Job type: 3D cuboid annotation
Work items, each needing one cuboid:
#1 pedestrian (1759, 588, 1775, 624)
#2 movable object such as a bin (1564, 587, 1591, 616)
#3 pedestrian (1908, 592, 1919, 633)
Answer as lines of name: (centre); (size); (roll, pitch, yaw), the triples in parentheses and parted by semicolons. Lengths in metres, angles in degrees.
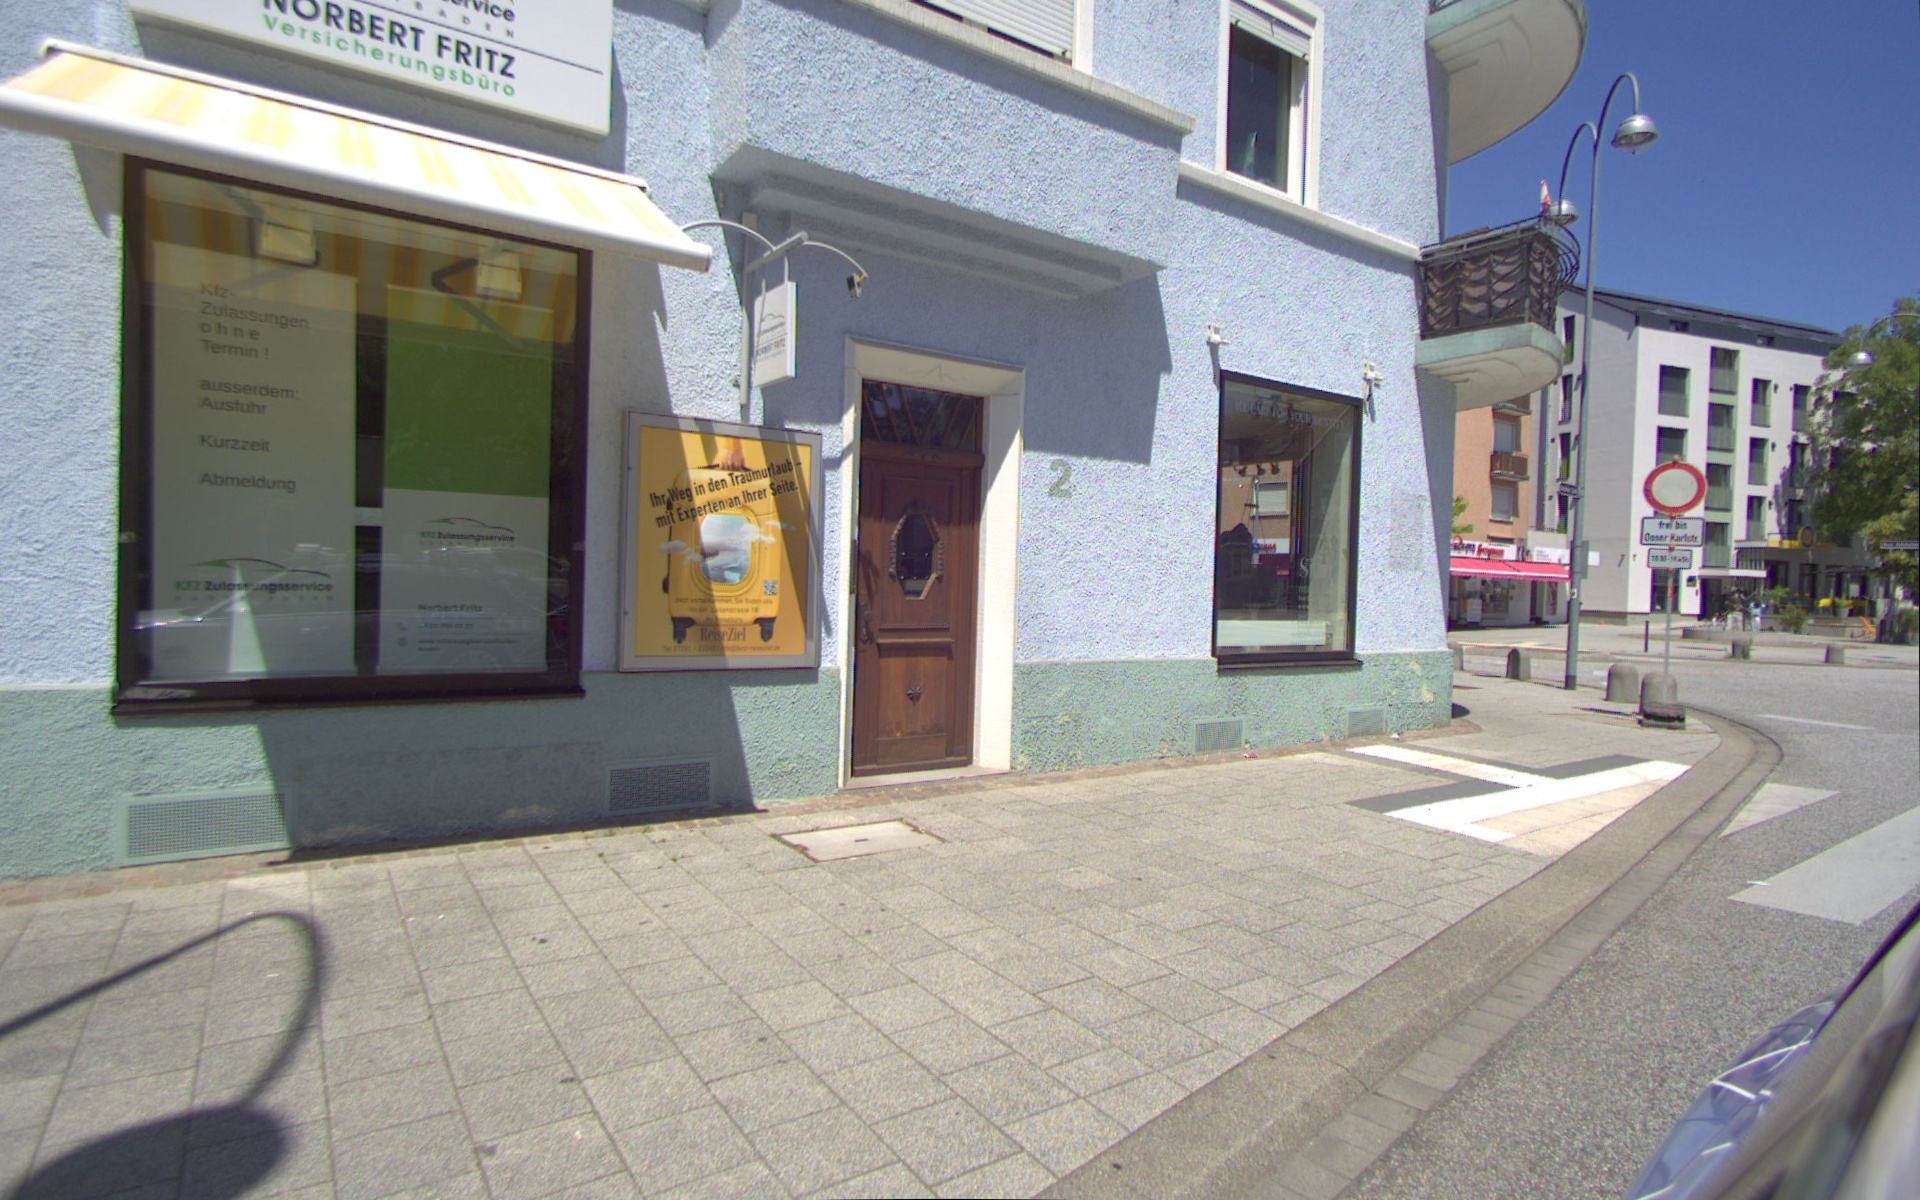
pedestrian: (36.269, 0.269, 45.469); (0.442, 1.639, 0.450); (1, 0, -37)
movable object such as a bin: (28.244, 0.068, 46.281); (0.821, 1.268, 0.747); (1, 0, -33)
pedestrian: (39.047, 0.508, 40.751); (0.932, 1.669, 0.819); (1, 0, -4)
